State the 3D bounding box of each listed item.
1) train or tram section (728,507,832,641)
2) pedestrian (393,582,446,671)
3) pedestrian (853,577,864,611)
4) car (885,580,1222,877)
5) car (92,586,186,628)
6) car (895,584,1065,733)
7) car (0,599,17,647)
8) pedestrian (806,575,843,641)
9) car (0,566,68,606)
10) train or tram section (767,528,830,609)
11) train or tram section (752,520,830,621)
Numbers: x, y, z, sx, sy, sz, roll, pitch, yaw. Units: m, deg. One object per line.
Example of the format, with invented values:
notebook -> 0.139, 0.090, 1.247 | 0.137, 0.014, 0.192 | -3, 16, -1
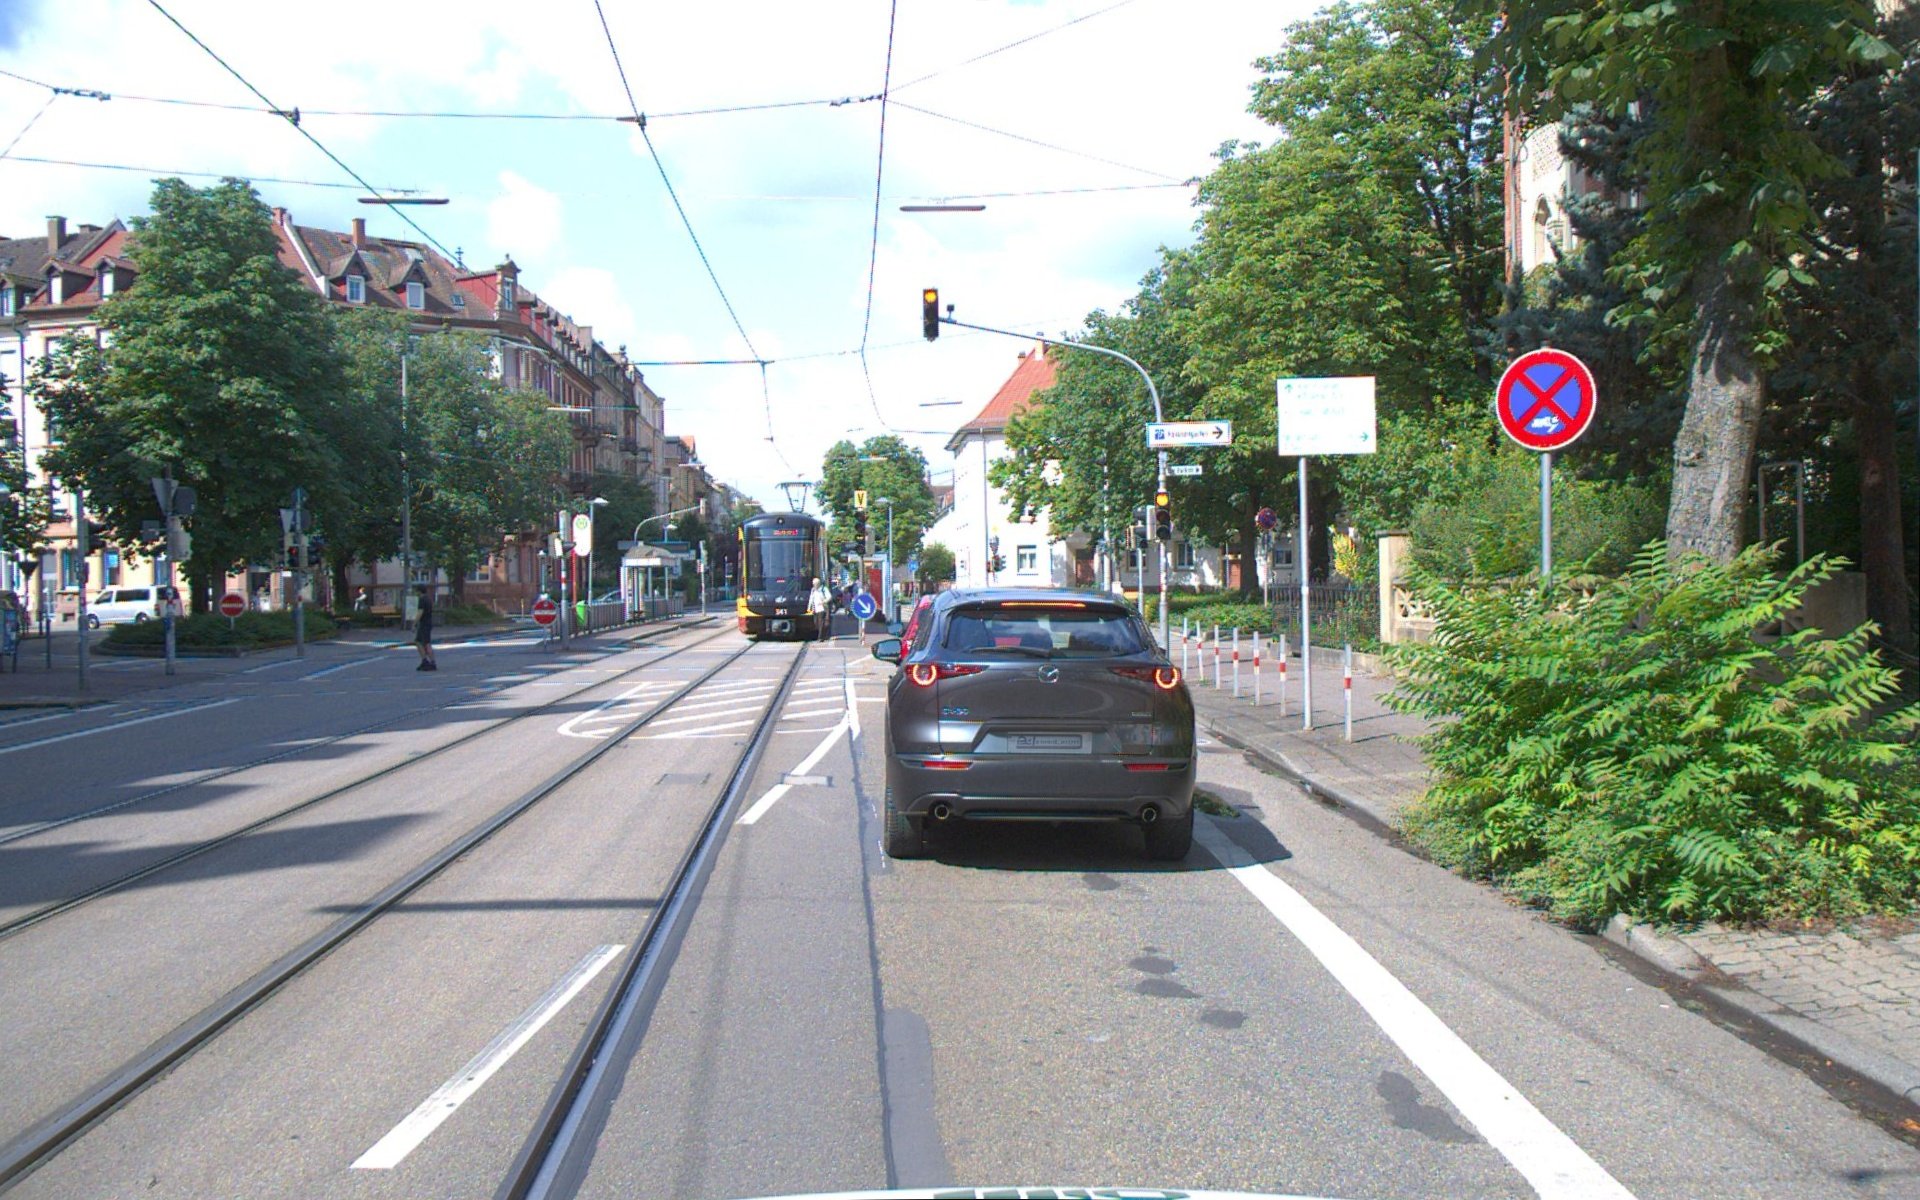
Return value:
train or tram section -> -5.410, -0.877, 51.552 | 2.699, 3.551, 14.395 | -1, 1, -5
pedestrian -> -10.645, 0.513, 32.592 | 0.735, 1.713, 0.701 | -1, 0, 8
pedestrian -> -4.368, -0.255, 71.246 | 0.441, 1.459, 0.474 | -1, 0, -5
car -> 0.453, 0.655, 10.661 | 1.742, 1.526, 3.999 | 1, 0, -1
car -> -39.532, 0.319, 79.637 | 3.906, 1.937, 1.999 | -1, 0, 24
car -> 0.172, 0.594, 19.264 | 1.742, 1.526, 3.999 | 1, 0, -1
car -> -31.984, 0.772, 53.623 | 1.730, 1.545, 4.045 | -1, 1, -20
pedestrian -> -3.608, 0.206, 43.985 | 0.708, 1.735, 0.817 | -1, 0, -27
car -> -39.166, -0.555, 67.918 | 3.905, 1.624, 2.000 | -1, 0, -1
train or tram section -> -7.730, -1.581, 80.232 | 2.699, 3.551, 14.395 | -1, 1, -5
train or tram section -> -6.566, -1.229, 65.900 | 2.699, 3.551, 14.395 | -1, 1, -5
